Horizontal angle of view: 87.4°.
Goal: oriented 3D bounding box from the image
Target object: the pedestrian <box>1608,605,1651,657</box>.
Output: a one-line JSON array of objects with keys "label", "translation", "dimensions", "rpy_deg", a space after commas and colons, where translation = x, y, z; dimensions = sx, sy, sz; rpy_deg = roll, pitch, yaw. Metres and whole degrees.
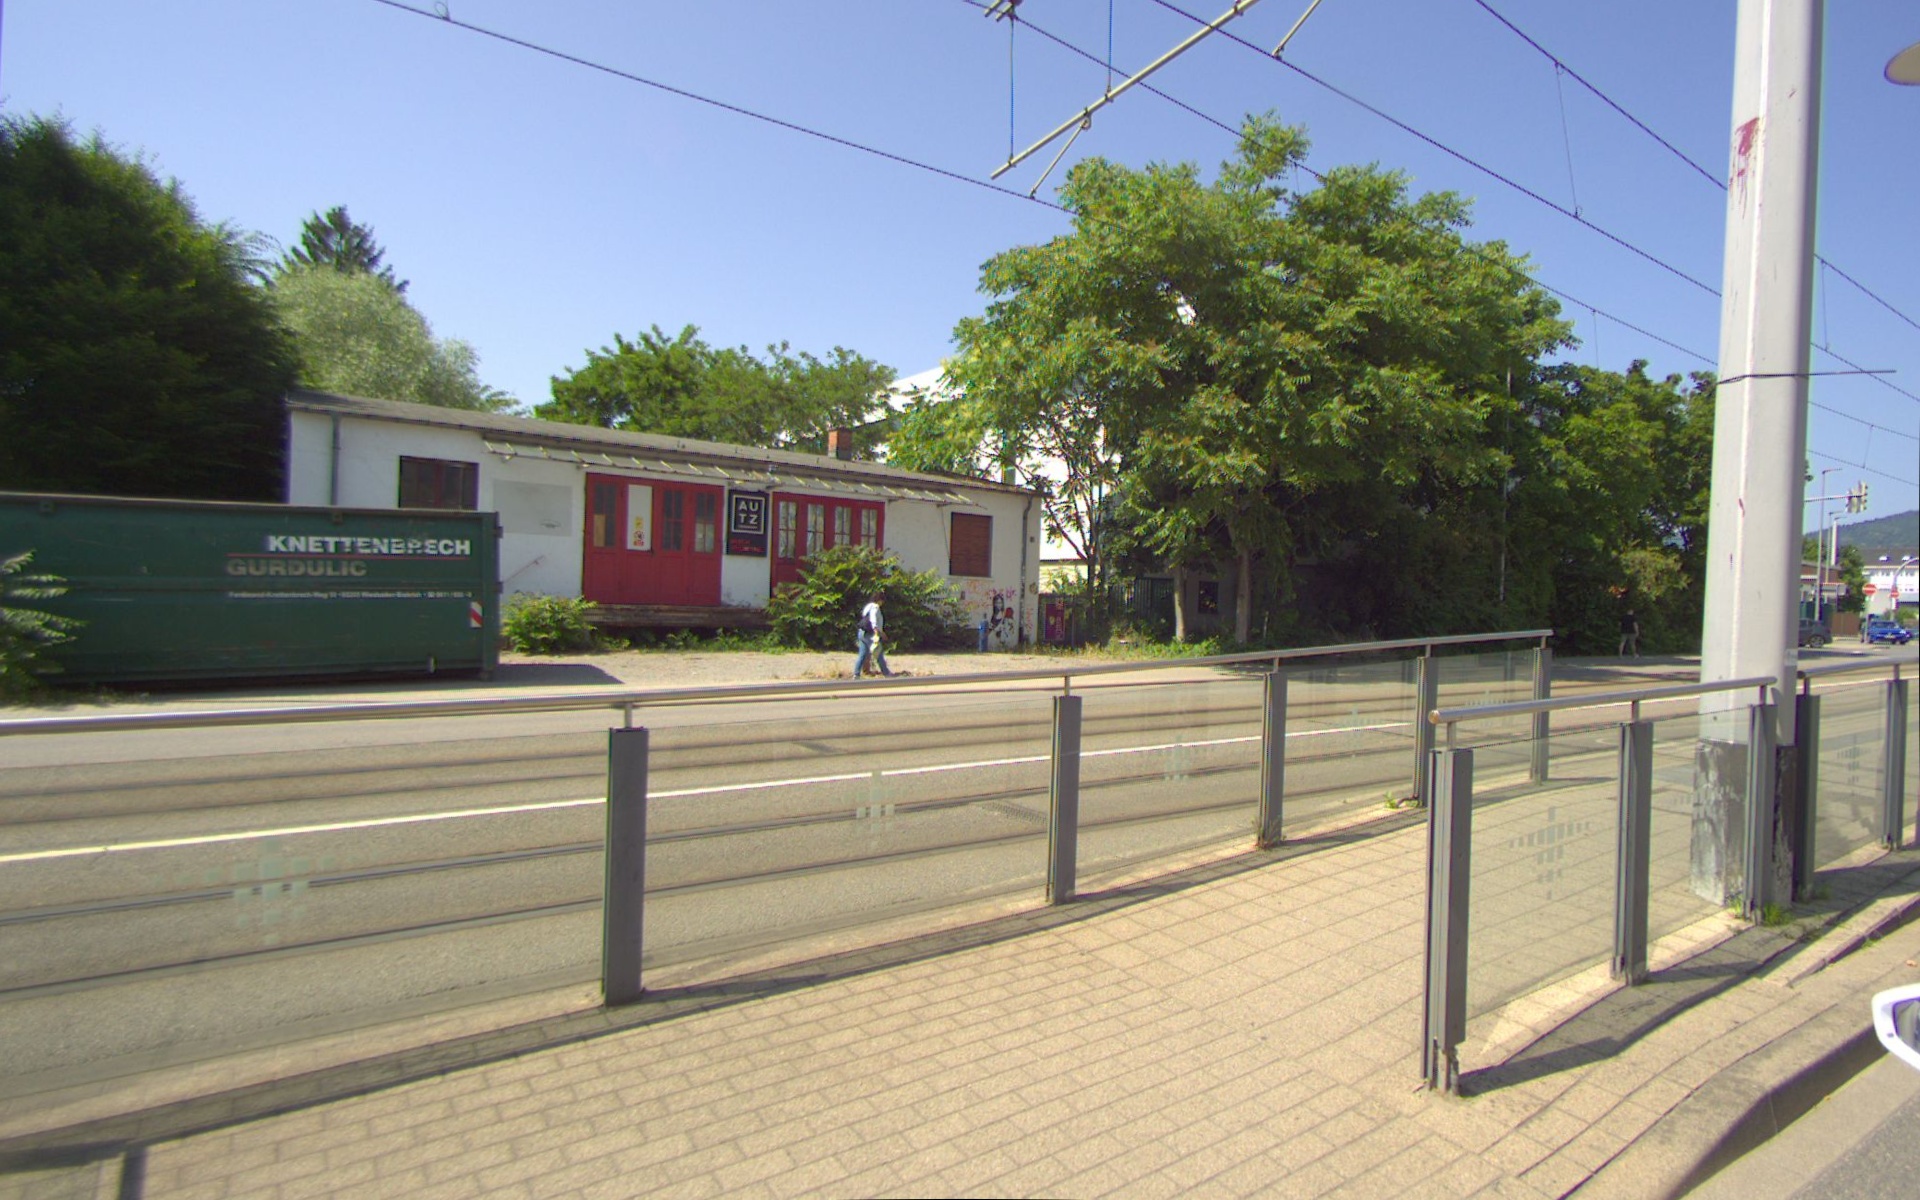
[{"label": "pedestrian", "translation": [22.577, 1.029, 33.867], "dimensions": [1.148, 1.692, 0.880], "rpy_deg": [1, -1, -35]}]

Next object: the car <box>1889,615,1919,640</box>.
[{"label": "car", "translation": [67.213, 1.908, 68.835], "dimensions": [4.812, 1.687, 1.956], "rpy_deg": [0, -1, 14]}]

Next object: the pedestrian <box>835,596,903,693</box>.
[{"label": "pedestrian", "translation": [-1.549, 0.733, 17.125], "dimensions": [0.837, 1.548, 0.865], "rpy_deg": [-3, 5, -35]}]

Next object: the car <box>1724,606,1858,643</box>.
[{"label": "car", "translation": [42.177, 1.226, 51.105], "dimensions": [4.811, 1.862, 2.102], "rpy_deg": [0, -1, 11]}]
